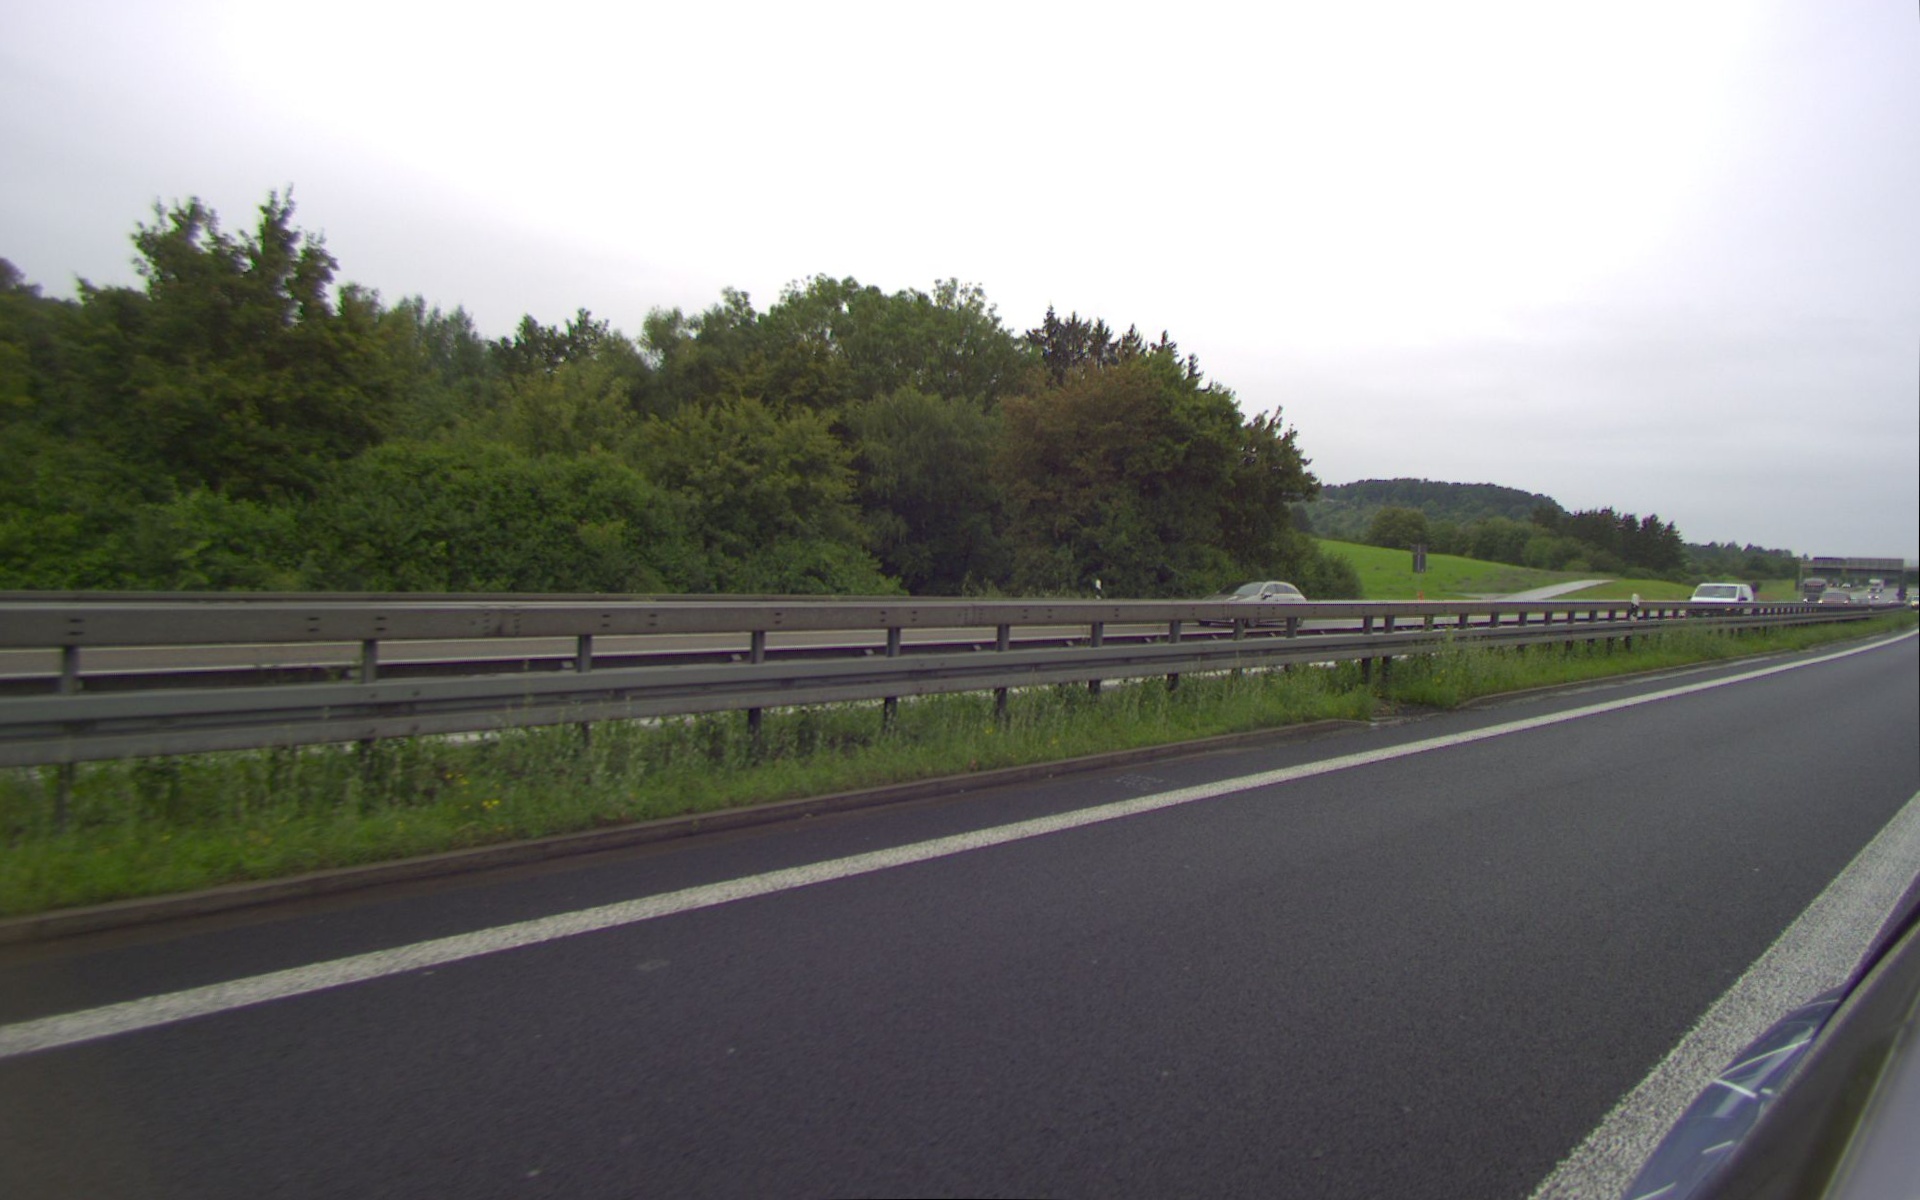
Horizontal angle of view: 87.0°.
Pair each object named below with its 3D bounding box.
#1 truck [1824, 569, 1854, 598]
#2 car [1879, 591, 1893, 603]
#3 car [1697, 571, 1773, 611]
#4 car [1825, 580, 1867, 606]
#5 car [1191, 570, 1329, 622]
[{"bbox_3d":[121.681,-2.272,140.023,2.791,3.949,9.873,1,1,43],"label":"truck"},{"bbox_3d":[165.055,-0.556,180.418,1.746,2.039,4.430,1,1,42],"label":"car"},{"bbox_3d":[34.992,-0.438,45.673,4.638,1.714,1.912,0,1,-42],"label":"car"},{"bbox_3d":[71.744,-0.601,81.946,4.993,2.039,2.126,-1,1,-44],"label":"car"},{"bbox_3d":[9.283,-0.147,31.141,4.628,1.473,1.902,0,1,-41],"label":"car"}]
